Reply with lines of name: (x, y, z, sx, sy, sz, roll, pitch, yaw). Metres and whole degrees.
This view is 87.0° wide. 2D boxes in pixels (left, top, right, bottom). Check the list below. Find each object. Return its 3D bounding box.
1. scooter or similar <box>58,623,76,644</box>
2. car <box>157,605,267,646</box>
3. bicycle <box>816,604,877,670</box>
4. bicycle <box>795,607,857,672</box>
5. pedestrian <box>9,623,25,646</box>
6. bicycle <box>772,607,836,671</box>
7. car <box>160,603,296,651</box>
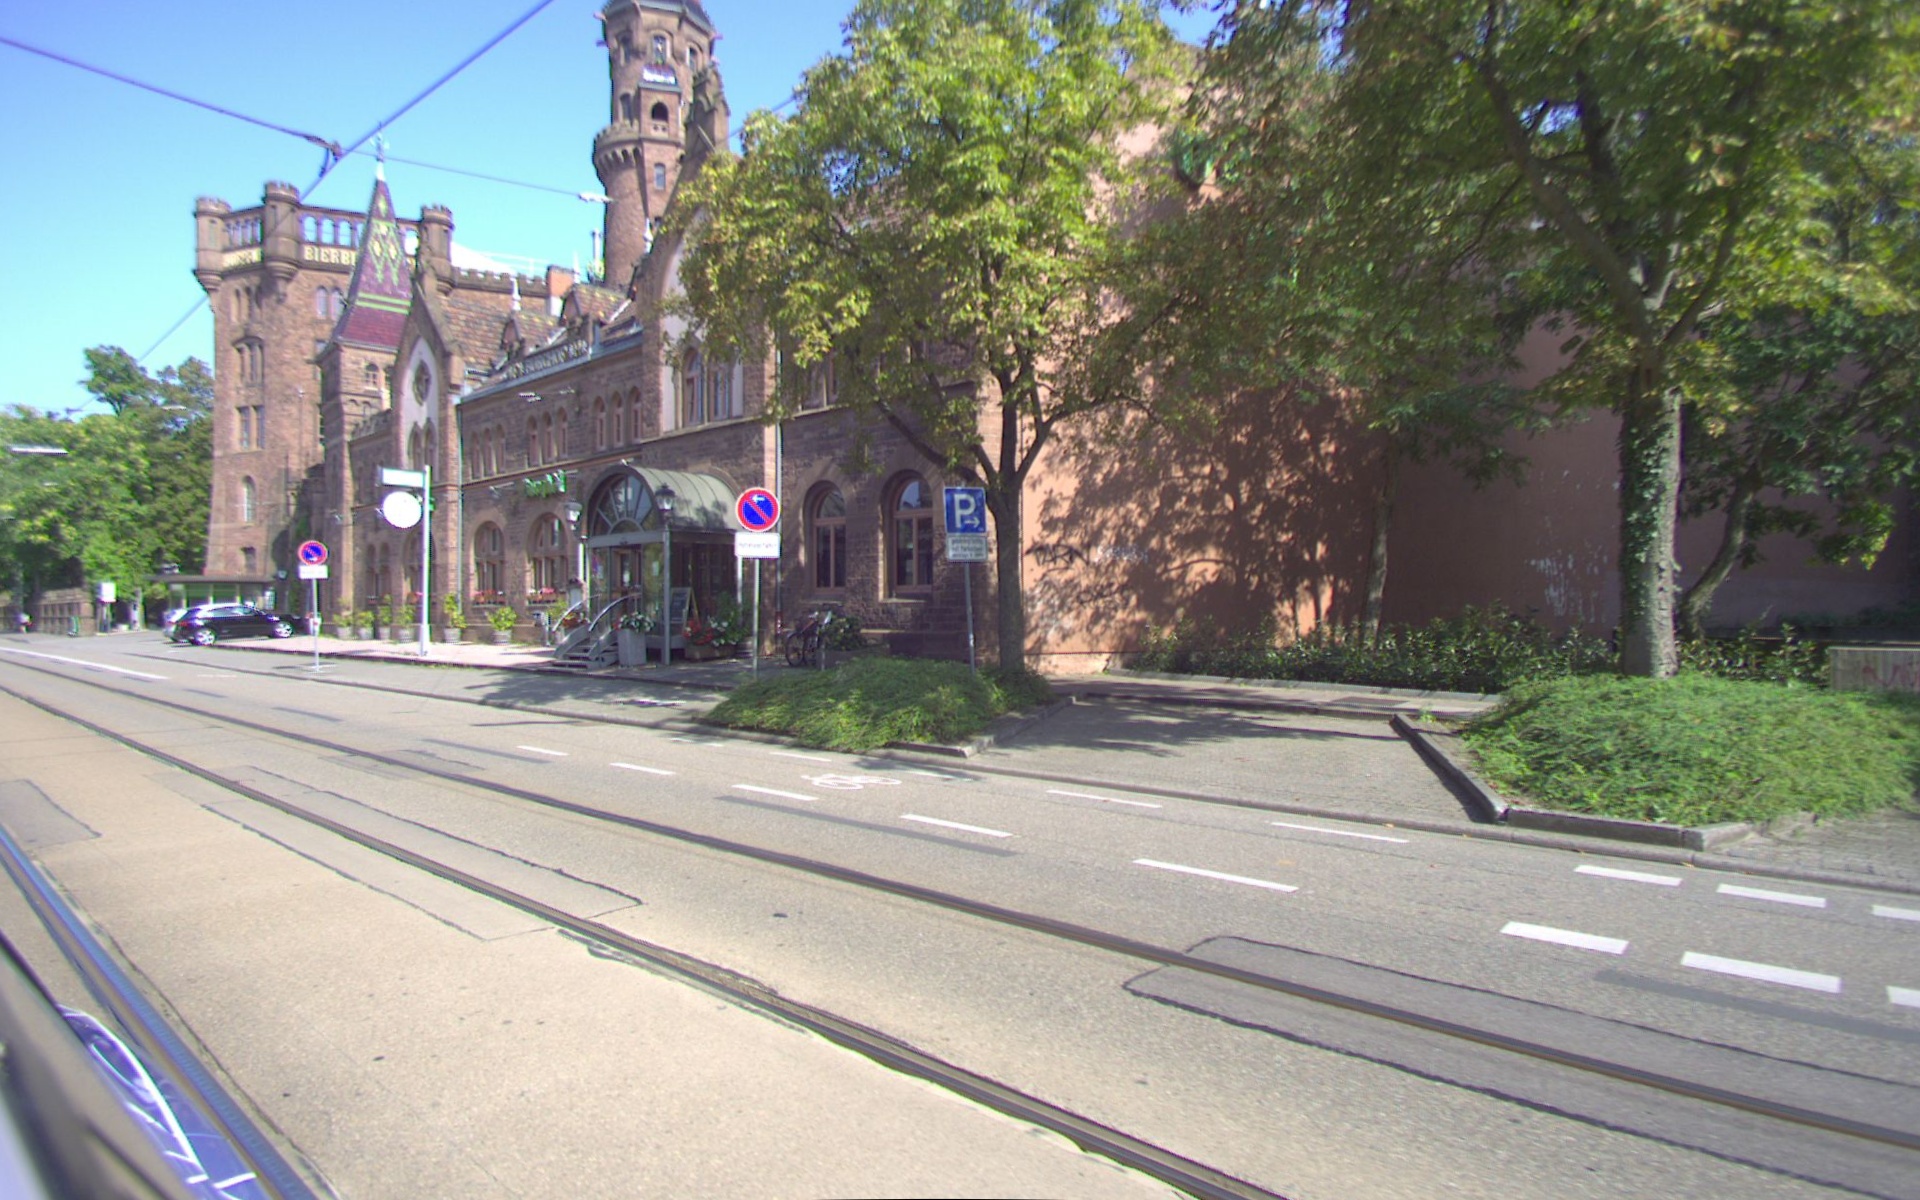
scooter or similar: (-52.689, 1.960, 59.713, 0.280, 1.157, 0.816, 0, 2, 5)
car: (-35.422, 1.194, 47.961, 1.823, 1.607, 3.857, -2, 3, 43)
bicycle: (-2.170, 0.692, 19.630, 0.418, 1.082, 1.798, -1, 4, 19)
bicycle: (-2.603, 0.740, 19.790, 0.418, 1.082, 1.798, -1, 4, 19)
pedestrian: (-66.780, 2.446, 71.669, 0.775, 1.601, 0.708, -1, -1, 41)
bicycle: (-3.050, 0.745, 19.928, 0.418, 1.082, 1.798, -1, 4, 19)
car: (-31.361, 1.120, 43.434, 1.956, 1.657, 4.351, -1, 3, 42)
